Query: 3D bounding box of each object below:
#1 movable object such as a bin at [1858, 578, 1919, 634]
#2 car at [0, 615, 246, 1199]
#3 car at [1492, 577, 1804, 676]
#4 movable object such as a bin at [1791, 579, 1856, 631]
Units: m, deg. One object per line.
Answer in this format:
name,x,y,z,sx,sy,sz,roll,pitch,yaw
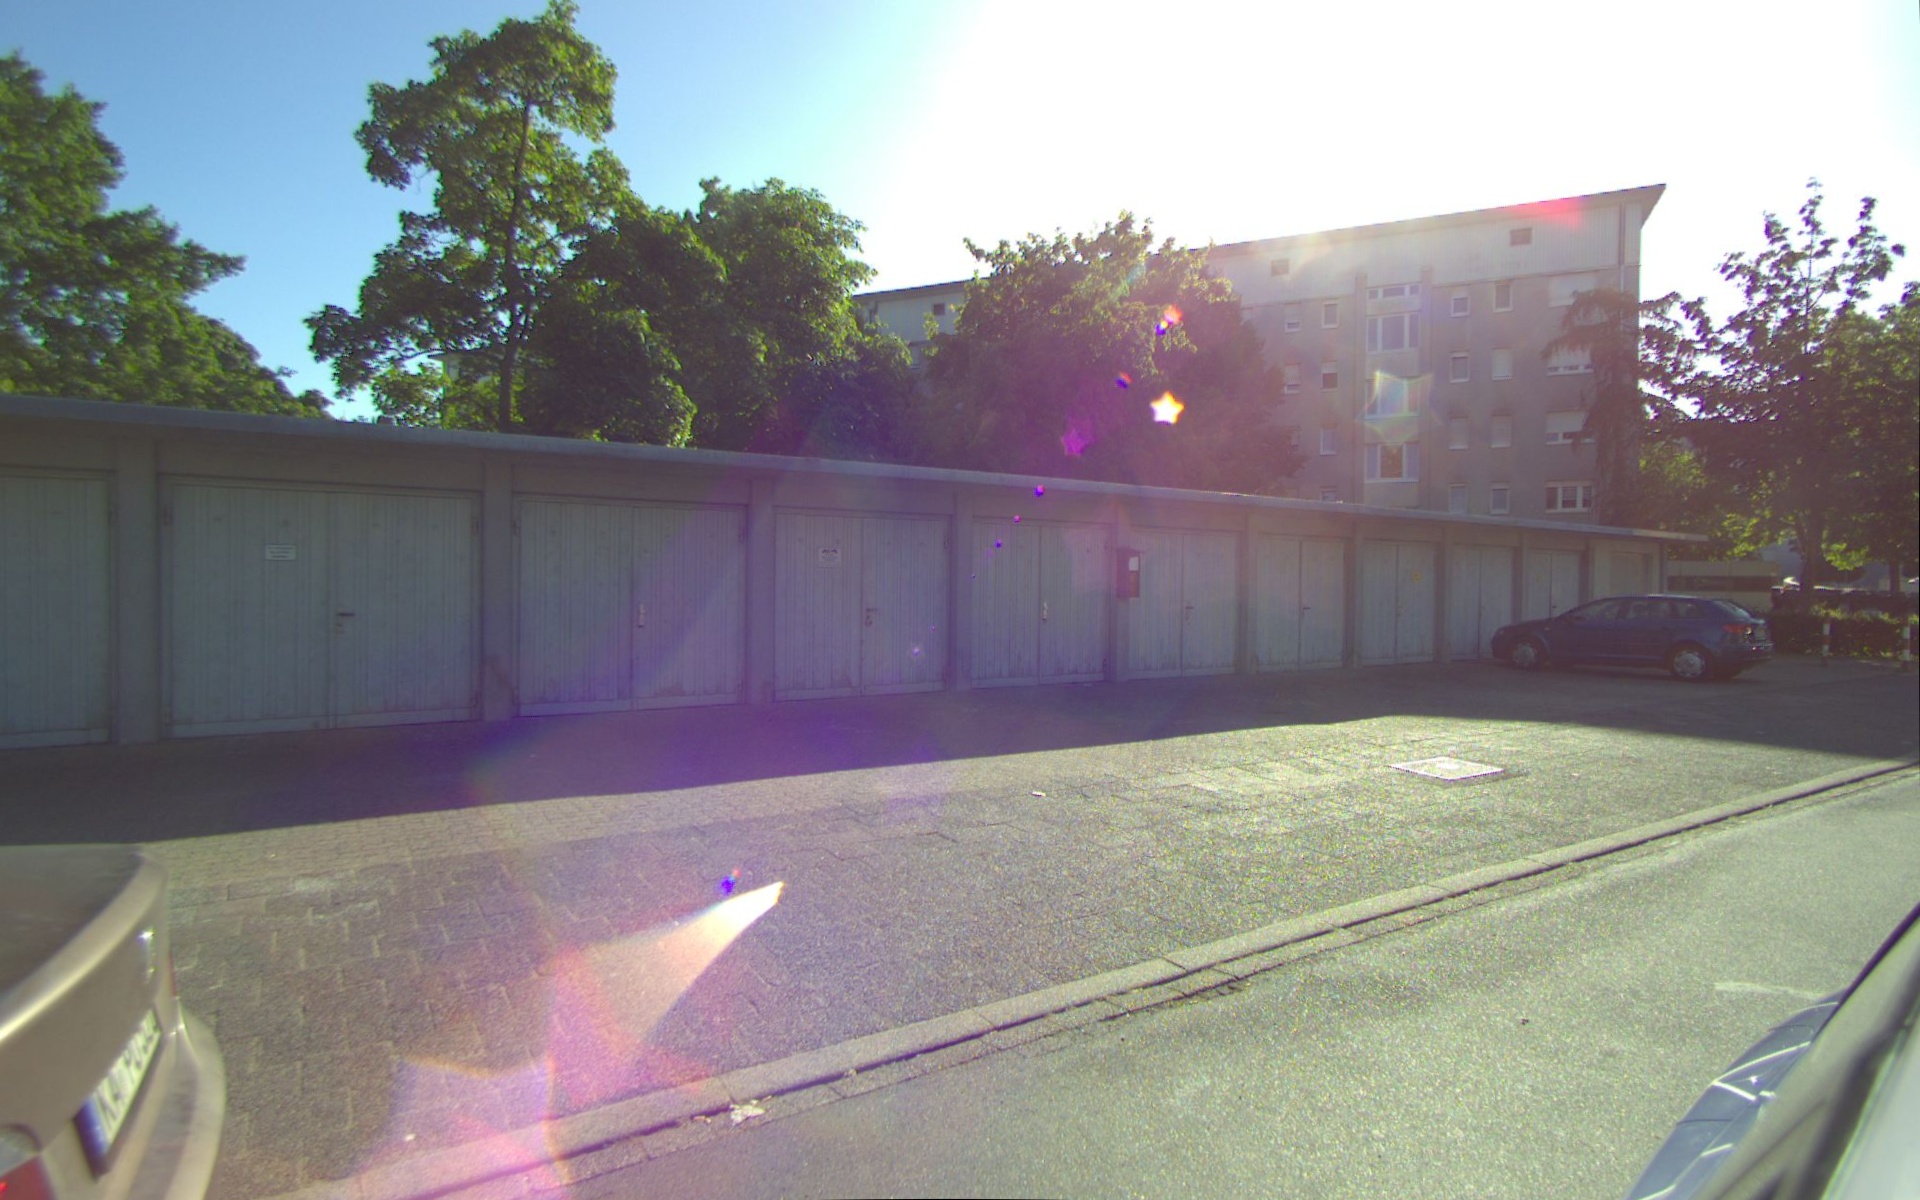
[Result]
movable object such as a bin,26.870,0.165,29.174,1.011,1.556,1.327,0,0,-39
car,-3.115,0.771,0.371,4.544,1.436,1.808,0,0,-32
car,11.896,0.375,17.770,1.784,1.513,4.195,0,1,-35
movable object such as a bin,25.890,0.140,30.347,1.011,1.499,1.325,0,0,-39
